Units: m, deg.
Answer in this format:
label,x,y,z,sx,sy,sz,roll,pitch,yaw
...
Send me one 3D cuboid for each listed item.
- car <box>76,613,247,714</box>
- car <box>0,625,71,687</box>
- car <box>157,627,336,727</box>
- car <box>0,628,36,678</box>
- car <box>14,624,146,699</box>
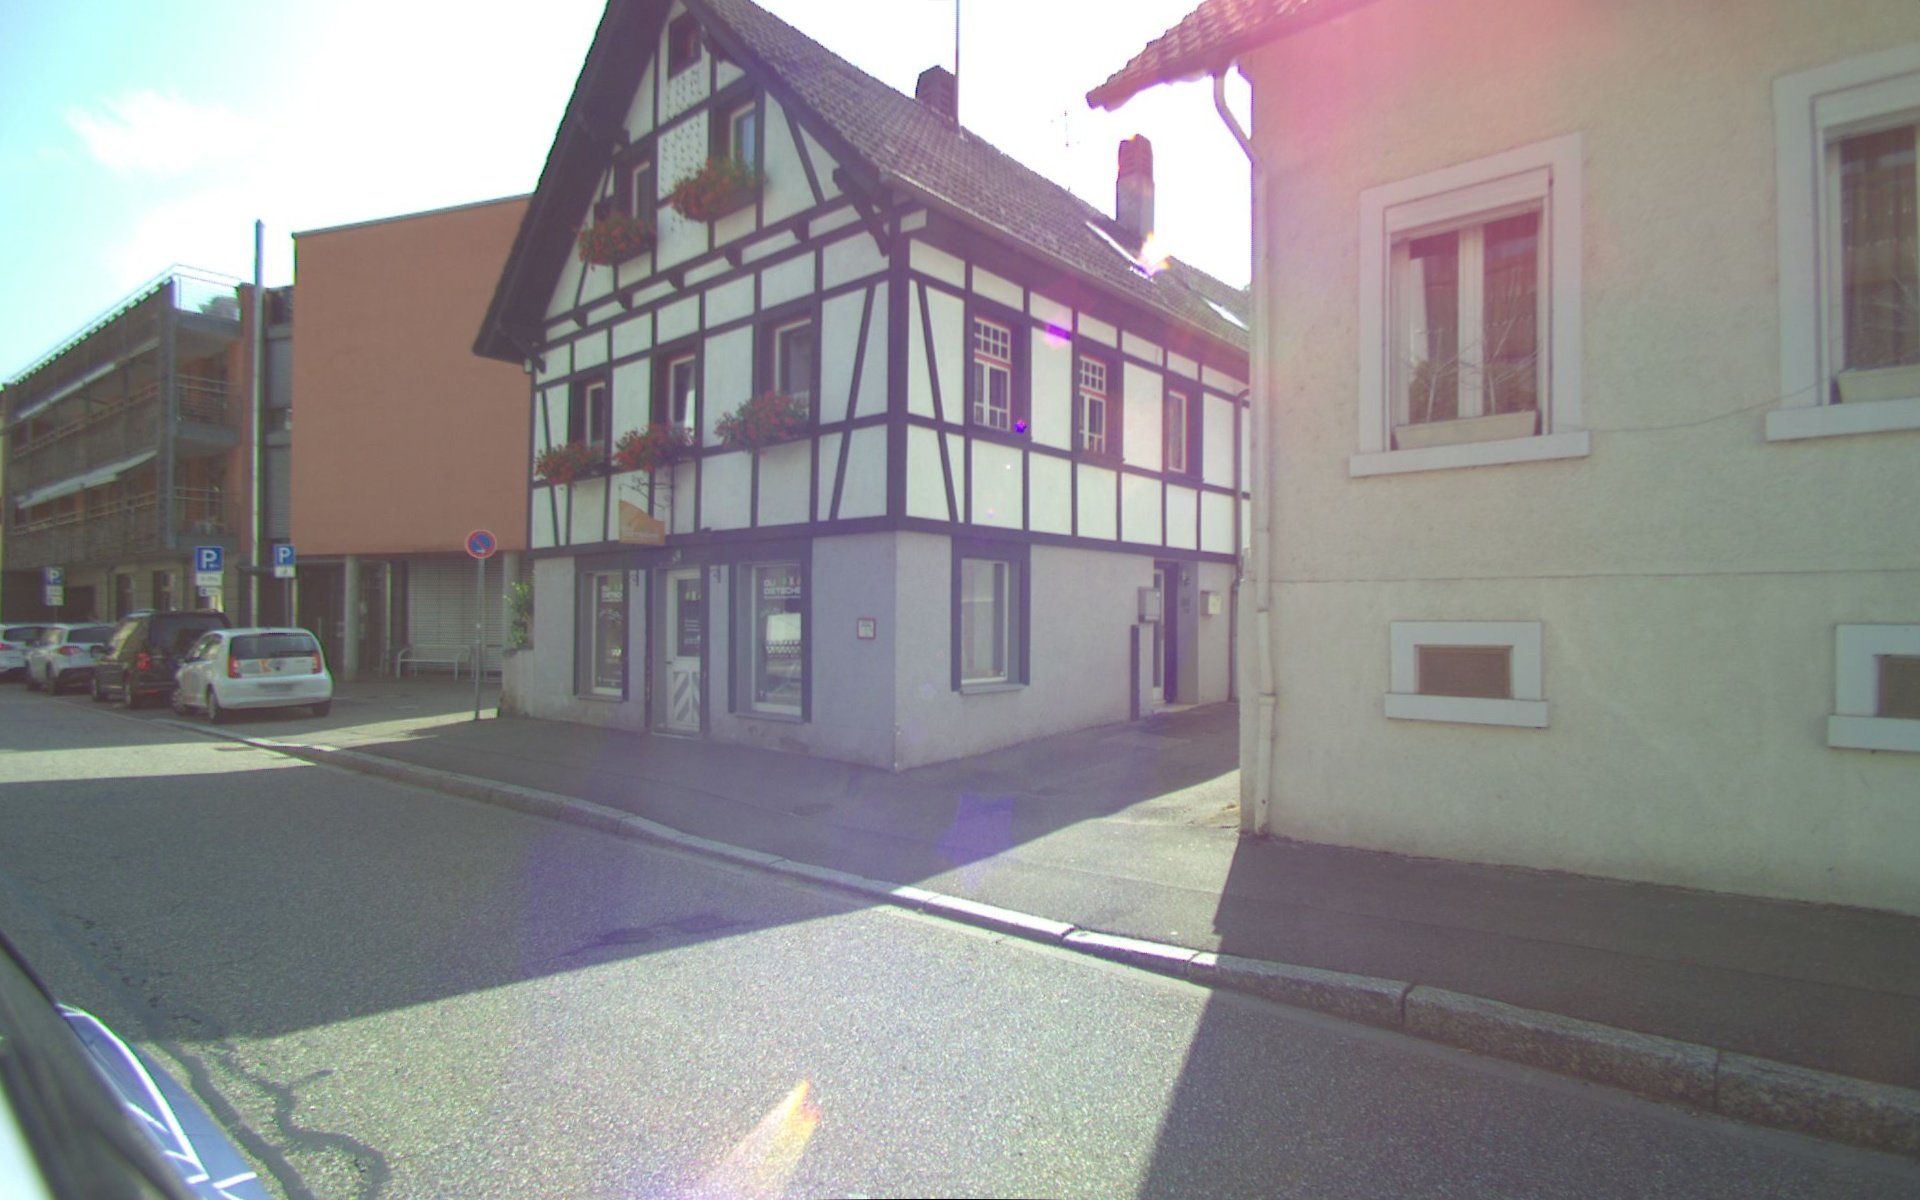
label,x,y,z,sx,sy,sz,roll,pitch,yaw
car,-16.015,1.194,20.222,4.263,1.810,1.703,-1,-2,38
car,-25.908,1.506,27.756,3.760,1.567,1.658,-2,-1,39
car,-12.026,1.227,16.982,3.566,1.443,1.649,-2,-1,41
car,-29.893,1.618,31.281,3.592,1.427,1.533,0,0,41
car,-20.629,1.381,23.684,3.944,1.601,1.658,-2,-2,39
